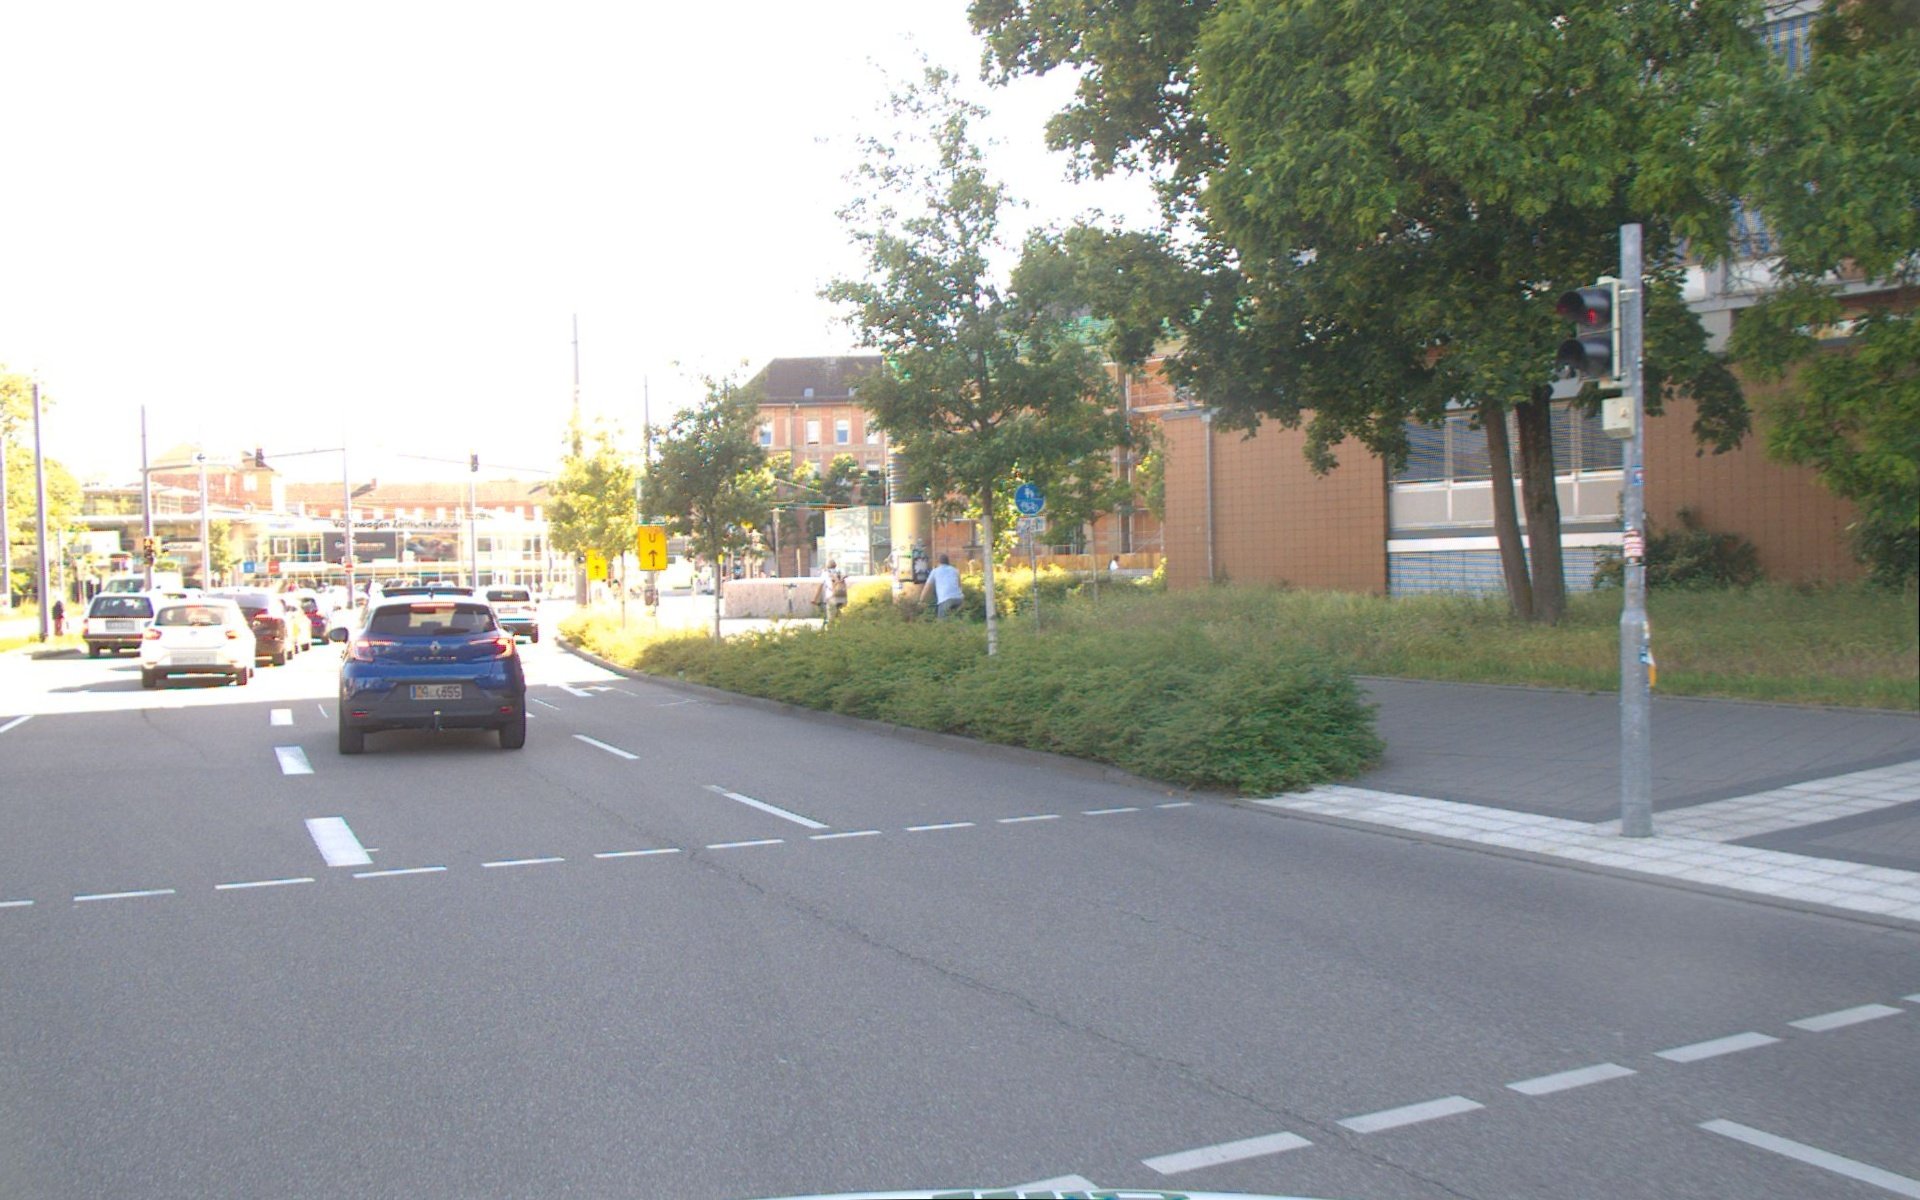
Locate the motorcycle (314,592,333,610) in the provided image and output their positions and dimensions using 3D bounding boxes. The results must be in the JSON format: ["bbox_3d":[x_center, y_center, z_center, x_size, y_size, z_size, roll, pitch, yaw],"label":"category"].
[{"bbox_3d":[-40.302,0.039,104.743,0.550,1.113,1.835,-1,1,-2],"label":"motorcycle"}]

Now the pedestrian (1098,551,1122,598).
[{"bbox_3d":[5.835,-0.987,64.293,0.772,1.782,0.537,2,3,33],"label":"pedestrian"}]

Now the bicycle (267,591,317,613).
[{"bbox_3d":[-39.648,0.096,98.121,2.623,1.209,0.936,-2,3,-34],"label":"bicycle"}]

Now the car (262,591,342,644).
[{"bbox_3d":[-18.932,0.478,47.704,1.697,1.468,3.783,1,0,-15],"label":"car"}]

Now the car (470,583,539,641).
[{"bbox_3d":[-13.435,0.343,48.916,1.845,1.646,3.612,0,0,-14],"label":"car"}]

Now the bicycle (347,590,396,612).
[{"bbox_3d":[-35.381,0.029,99.524,2.632,1.209,0.933,-2,3,-42],"label":"bicycle"}]

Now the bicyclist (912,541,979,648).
[{"bbox_3d":[-0.238,-0.091,26.279,0.710,1.645,0.971,-2,1,-23],"label":"bicyclist"}]

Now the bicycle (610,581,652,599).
[{"bbox_3d":[-21.898,-0.681,110.196,2.606,1.114,0.962,-2,1,-22],"label":"bicycle"}]

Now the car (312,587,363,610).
[{"bbox_3d":[-42.144,-0.140,112.024,1.689,1.467,4.186,-1,1,2],"label":"car"}]

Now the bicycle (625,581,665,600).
[{"bbox_3d":[-21.954,-0.647,115.220,2.623,1.209,0.936,-2,3,-34],"label":"bicycle"}]

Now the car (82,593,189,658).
[{"bbox_3d":[-19.845,0.588,39.948,1.698,1.468,3.780,1,0,-17],"label":"car"}]

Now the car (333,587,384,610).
[{"bbox_3d":[-39.878,-0.108,109.810,1.689,1.467,4.186,-1,1,2],"label":"car"}]

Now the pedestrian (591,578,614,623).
[{"bbox_3d":[-13.949,0.030,64.557,0.581,1.753,0.871,-2,-2,9],"label":"pedestrian"}]

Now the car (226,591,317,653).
[{"bbox_3d":[-17.226,0.525,41.511,1.644,1.468,3.706,1,0,-15],"label":"car"}]

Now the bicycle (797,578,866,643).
[{"bbox_3d":[-2.480,0.188,31.750,0.736,1.185,1.856,-2,1,-24],"label":"bicycle"}]

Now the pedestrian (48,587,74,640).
[{"bbox_3d":[-28.194,0.418,51.883,0.569,1.638,0.560,-2,3,-44],"label":"pedestrian"}]

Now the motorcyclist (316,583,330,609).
[{"bbox_3d":[-40.308,-0.241,104.665,0.538,1.649,0.744,-1,1,-2],"label":"motorcyclist"}]

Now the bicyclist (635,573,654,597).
[{"bbox_3d":[-21.968,-1.047,115.190,1.053,1.611,0.936,-2,3,-34],"label":"bicyclist"}]

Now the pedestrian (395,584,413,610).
[{"bbox_3d":[-35.277,-0.189,104.991,0.686,1.638,0.852,1,3,17],"label":"pedestrian"}]

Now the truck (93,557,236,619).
[{"bbox_3d":[-32.186,-0.510,67.255,2.168,2.354,6.886,-1,1,3],"label":"truck"}]

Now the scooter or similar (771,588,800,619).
[{"bbox_3d":[-6.297,0.122,59.515,0.464,1.030,1.233,-2,3,-38],"label":"scooter or similar"}]

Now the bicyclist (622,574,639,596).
[{"bbox_3d":[-21.932,-1.010,110.176,0.948,1.474,0.962,-1,1,-22],"label":"bicyclist"}]

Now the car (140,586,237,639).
[{"bbox_3d":[-22.369,0.337,48.081,1.695,1.468,3.898,1,0,-12],"label":"car"}]

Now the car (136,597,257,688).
[{"bbox_3d":[-13.270,0.704,28.925,1.667,1.461,3.712,1,0,-21],"label":"car"}]

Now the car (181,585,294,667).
[{"bbox_3d":[-15.532,0.522,35.754,1.955,1.652,4.351,1,0,-21],"label":"car"}]

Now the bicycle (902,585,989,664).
[{"bbox_3d":[-0.250,0.372,26.335,0.706,1.185,1.857,-2,1,-23],"label":"bicycle"}]

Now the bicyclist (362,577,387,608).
[{"bbox_3d":[-35.268,-0.475,99.619,1.177,1.807,0.933,-2,3,-42],"label":"bicyclist"}]

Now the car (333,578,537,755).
[{"bbox_3d":[-5.608,0.646,17.480,1.849,1.646,3.775,0,-1,-20],"label":"car"}]

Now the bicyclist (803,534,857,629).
[{"bbox_3d":[-2.489,-0.360,31.728,0.710,1.793,0.970,-2,1,-24],"label":"bicyclist"}]

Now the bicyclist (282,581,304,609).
[{"bbox_3d":[-39.592,-0.287,98.140,1.053,1.611,0.936,-2,3,-34],"label":"bicyclist"}]
